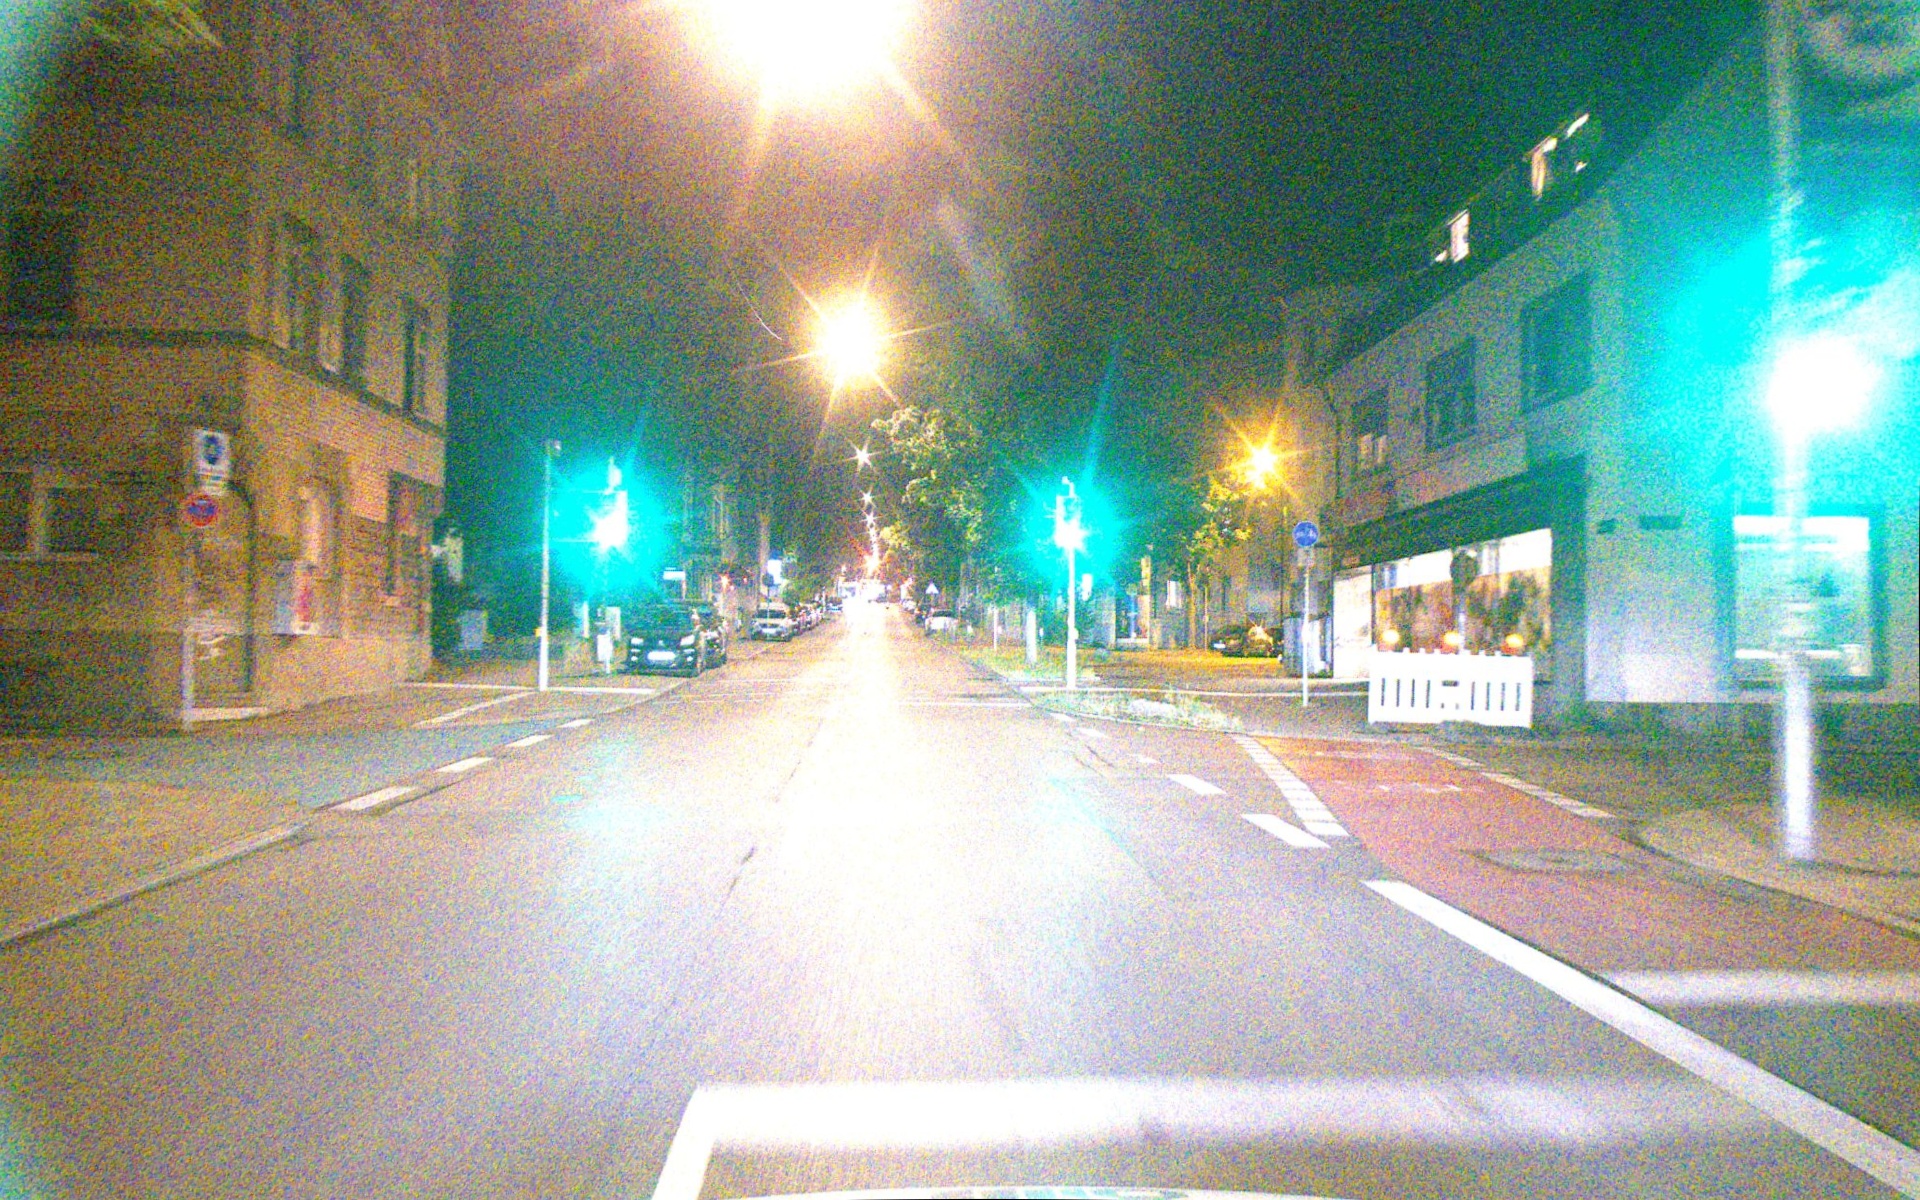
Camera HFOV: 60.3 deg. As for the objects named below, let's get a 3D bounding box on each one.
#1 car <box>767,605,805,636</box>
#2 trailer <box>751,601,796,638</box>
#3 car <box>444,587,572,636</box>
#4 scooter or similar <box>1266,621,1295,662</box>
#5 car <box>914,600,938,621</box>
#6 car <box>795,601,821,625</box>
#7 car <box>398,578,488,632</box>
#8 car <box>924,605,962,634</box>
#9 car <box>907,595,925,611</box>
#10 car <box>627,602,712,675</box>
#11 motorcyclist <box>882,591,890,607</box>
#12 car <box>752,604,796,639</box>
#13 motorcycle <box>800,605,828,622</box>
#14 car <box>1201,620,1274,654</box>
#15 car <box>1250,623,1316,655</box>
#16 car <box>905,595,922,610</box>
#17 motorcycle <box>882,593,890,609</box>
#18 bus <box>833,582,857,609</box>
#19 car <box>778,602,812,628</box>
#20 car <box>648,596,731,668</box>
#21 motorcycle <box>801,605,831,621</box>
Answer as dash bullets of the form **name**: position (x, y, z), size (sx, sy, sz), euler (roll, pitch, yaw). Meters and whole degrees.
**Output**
- **car**: position (-8.991, 1.032, 85.595), size (1.799, 1.472, 4.541), euler (0, 0, -4)
- **trailer**: position (-8.955, 0.941, 79.632), size (1.603, 1.668, 3.440), euler (1, -1, 2)
- **car**: position (-15.883, 0.409, 58.254), size (3.903, 1.450, 1.763), euler (3, -1, 7)
- **scooter or similar**: position (9.441, 1.218, 48.692), size (0.488, 1.166, 1.666), euler (-2, -2, 21)
- **car**: position (-2.598, 0.819, 127.267), size (1.728, 1.502, 4.078), euler (-1, 1, -2)
- **car**: position (-10.239, 0.858, 111.600), size (1.670, 1.517, 4.225), euler (-1, 1, -4)
- **car**: position (-16.631, 0.181, 53.392), size (1.722, 1.565, 4.184), euler (4, -1, -4)
- **car**: position (-0.937, 1.033, 88.775), size (1.808, 1.442, 4.642), euler (-2, 0, -3)
- **car**: position (-4.724, 0.319, 176.002), size (1.776, 1.622, 4.271), euler (-1, 1, -3)
- **car**: position (-6.538, 0.851, 37.479), size (1.616, 1.541, 3.697), euler (2, -1, -6)
- **motorcyclist**: position (-8.524, -0.071, 190.532), size (0.832, 1.783, 0.805), euler (1, -1, -3)
- **car**: position (-8.387, 0.935, 74.842), size (1.779, 1.510, 4.344), euler (1, 0, -4)
- **motorcycle**: position (-10.216, 0.961, 115.847), size (0.710, 1.167, 2.172), euler (0, 1, -45)
- **car**: position (12.519, 1.662, 74.427), size (1.765, 1.442, 3.824), euler (1, -1, 34)
- **car**: position (15.521, 1.870, 79.369), size (1.765, 1.442, 3.824), euler (1, -1, 34)
- **car**: position (-5.370, 0.269, 189.350), size (1.831, 1.553, 4.147), euler (-1, 1, -3)
- **motorcycle**: position (-8.527, 0.159, 190.527), size (0.912, 1.783, 2.623), euler (1, -1, -3)
- **bus**: position (-14.558, -0.634, 209.846), size (2.781, 3.233, 10.493), euler (2, 0, -3)
- **car**: position (-9.866, 0.906, 99.179), size (1.827, 1.518, 4.277), euler (2, -1, -4)
- **car**: position (-7.000, 0.784, 43.174), size (1.813, 1.679, 4.665), euler (2, 0, -6)
- **motorcycle**: position (-10.260, 0.918, 117.865), size (2.161, 1.150, 0.714), euler (1, 1, 30)
